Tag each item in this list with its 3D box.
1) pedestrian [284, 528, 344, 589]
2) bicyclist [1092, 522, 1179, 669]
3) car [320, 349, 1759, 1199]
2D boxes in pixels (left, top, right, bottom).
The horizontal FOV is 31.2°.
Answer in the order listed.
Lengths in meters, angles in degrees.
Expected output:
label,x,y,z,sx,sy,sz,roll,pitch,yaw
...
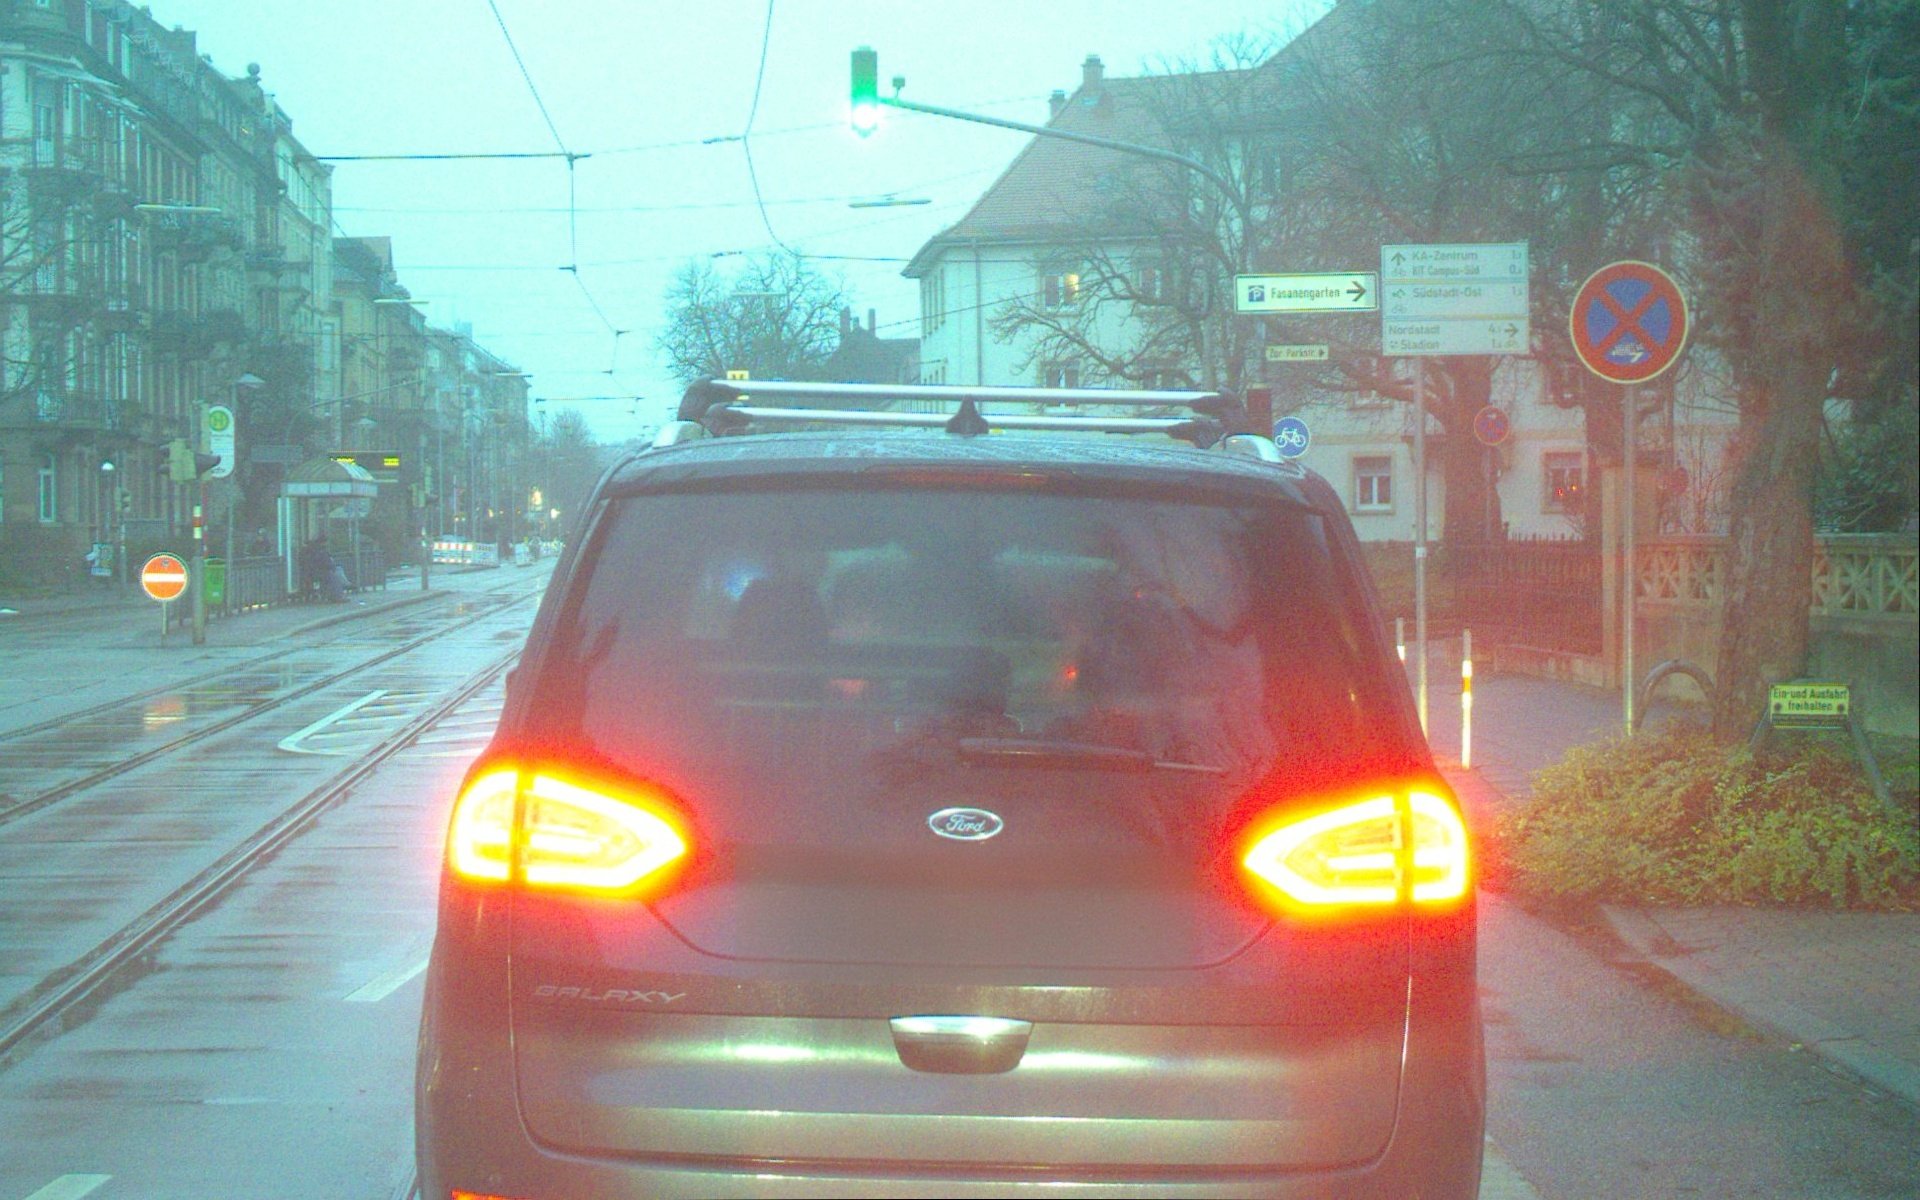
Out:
label,x,y,z,sx,sy,sz,roll,pitch,yaw
pedestrian,-12.762,-0.820,67.975,1.047,1.196,0.885,0,0,-3
bicyclist,2.045,-0.060,40.146,0.716,1.657,1.057,3,1,-8
car,0.028,0.513,7.429,2.103,1.810,4.661,1,1,-2
